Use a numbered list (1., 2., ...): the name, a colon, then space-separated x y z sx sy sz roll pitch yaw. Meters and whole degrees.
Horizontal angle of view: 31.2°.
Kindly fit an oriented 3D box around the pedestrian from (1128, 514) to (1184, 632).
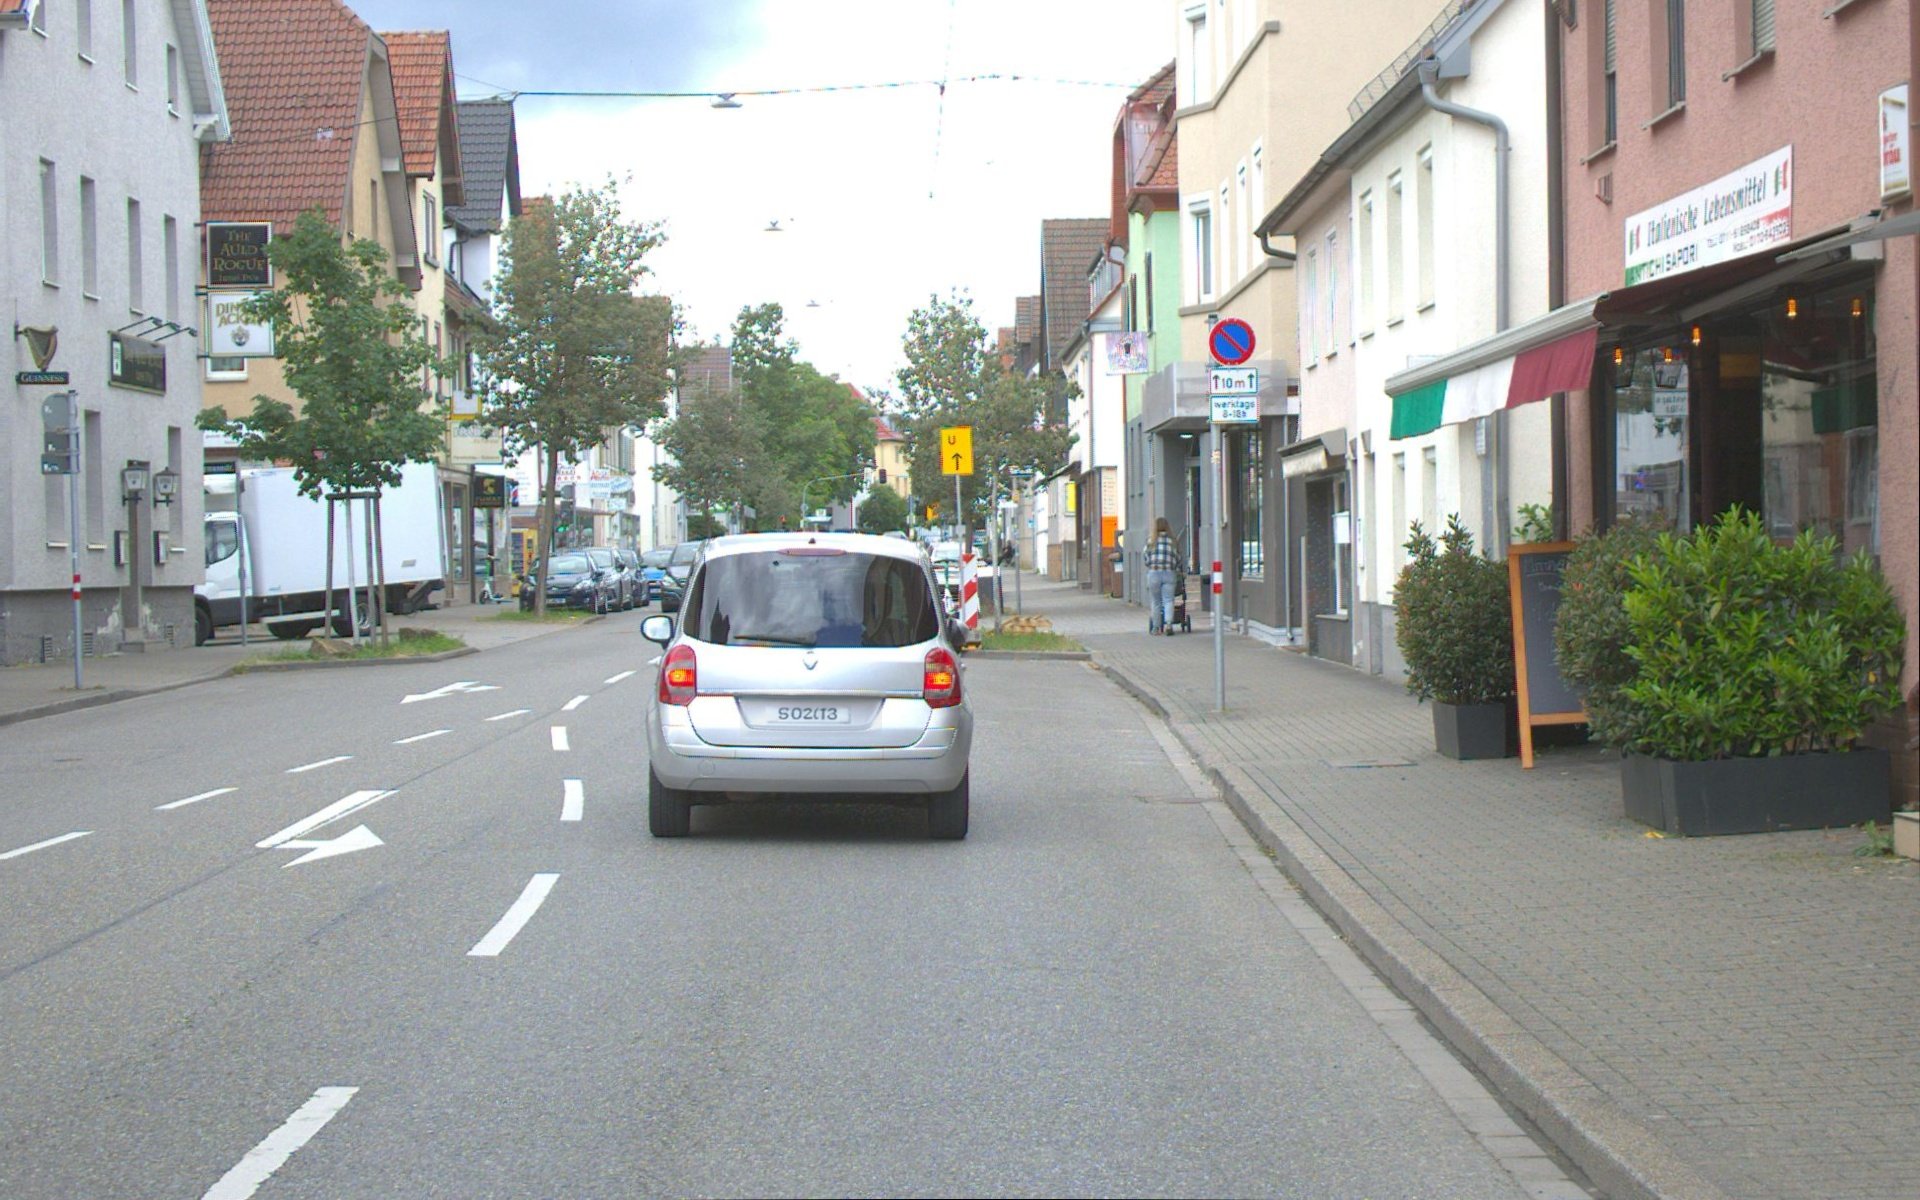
1. pedestrian: 2.857 -0.398 50.132 0.750 1.714 0.900 0 1 -1

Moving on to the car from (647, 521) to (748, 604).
1. car: -5.973 -0.879 78.728 1.993 1.790 4.277 -2 1 -1

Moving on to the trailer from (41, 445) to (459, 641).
1. trailer: -12.199 -0.985 59.655 2.509 3.208 7.119 1 1 39

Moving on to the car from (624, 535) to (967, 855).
1. car: -0.812 0.434 18.996 1.682 1.560 3.993 1 1 0

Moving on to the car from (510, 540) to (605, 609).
1. car: -8.909 -0.580 76.269 1.682 1.420 3.931 -2 1 -1

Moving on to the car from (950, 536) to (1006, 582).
1. car: 0.604 -1.395 115.311 1.831 1.492 3.993 1 1 0

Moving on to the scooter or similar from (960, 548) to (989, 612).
1. scooter or similar: 0.280 -0.401 66.885 0.502 1.231 1.942 0 1 -1

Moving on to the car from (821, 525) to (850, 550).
1. car: -8.867 -4.442 245.089 1.900 1.731 4.366 -2 1 0

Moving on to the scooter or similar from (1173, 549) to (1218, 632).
1. scooter or similar: 3.484 -0.146 50.943 0.589 1.228 0.891 0 1 -1

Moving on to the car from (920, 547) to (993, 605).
1. car: -0.088 -0.652 89.889 1.831 1.441 4.332 1 1 0
